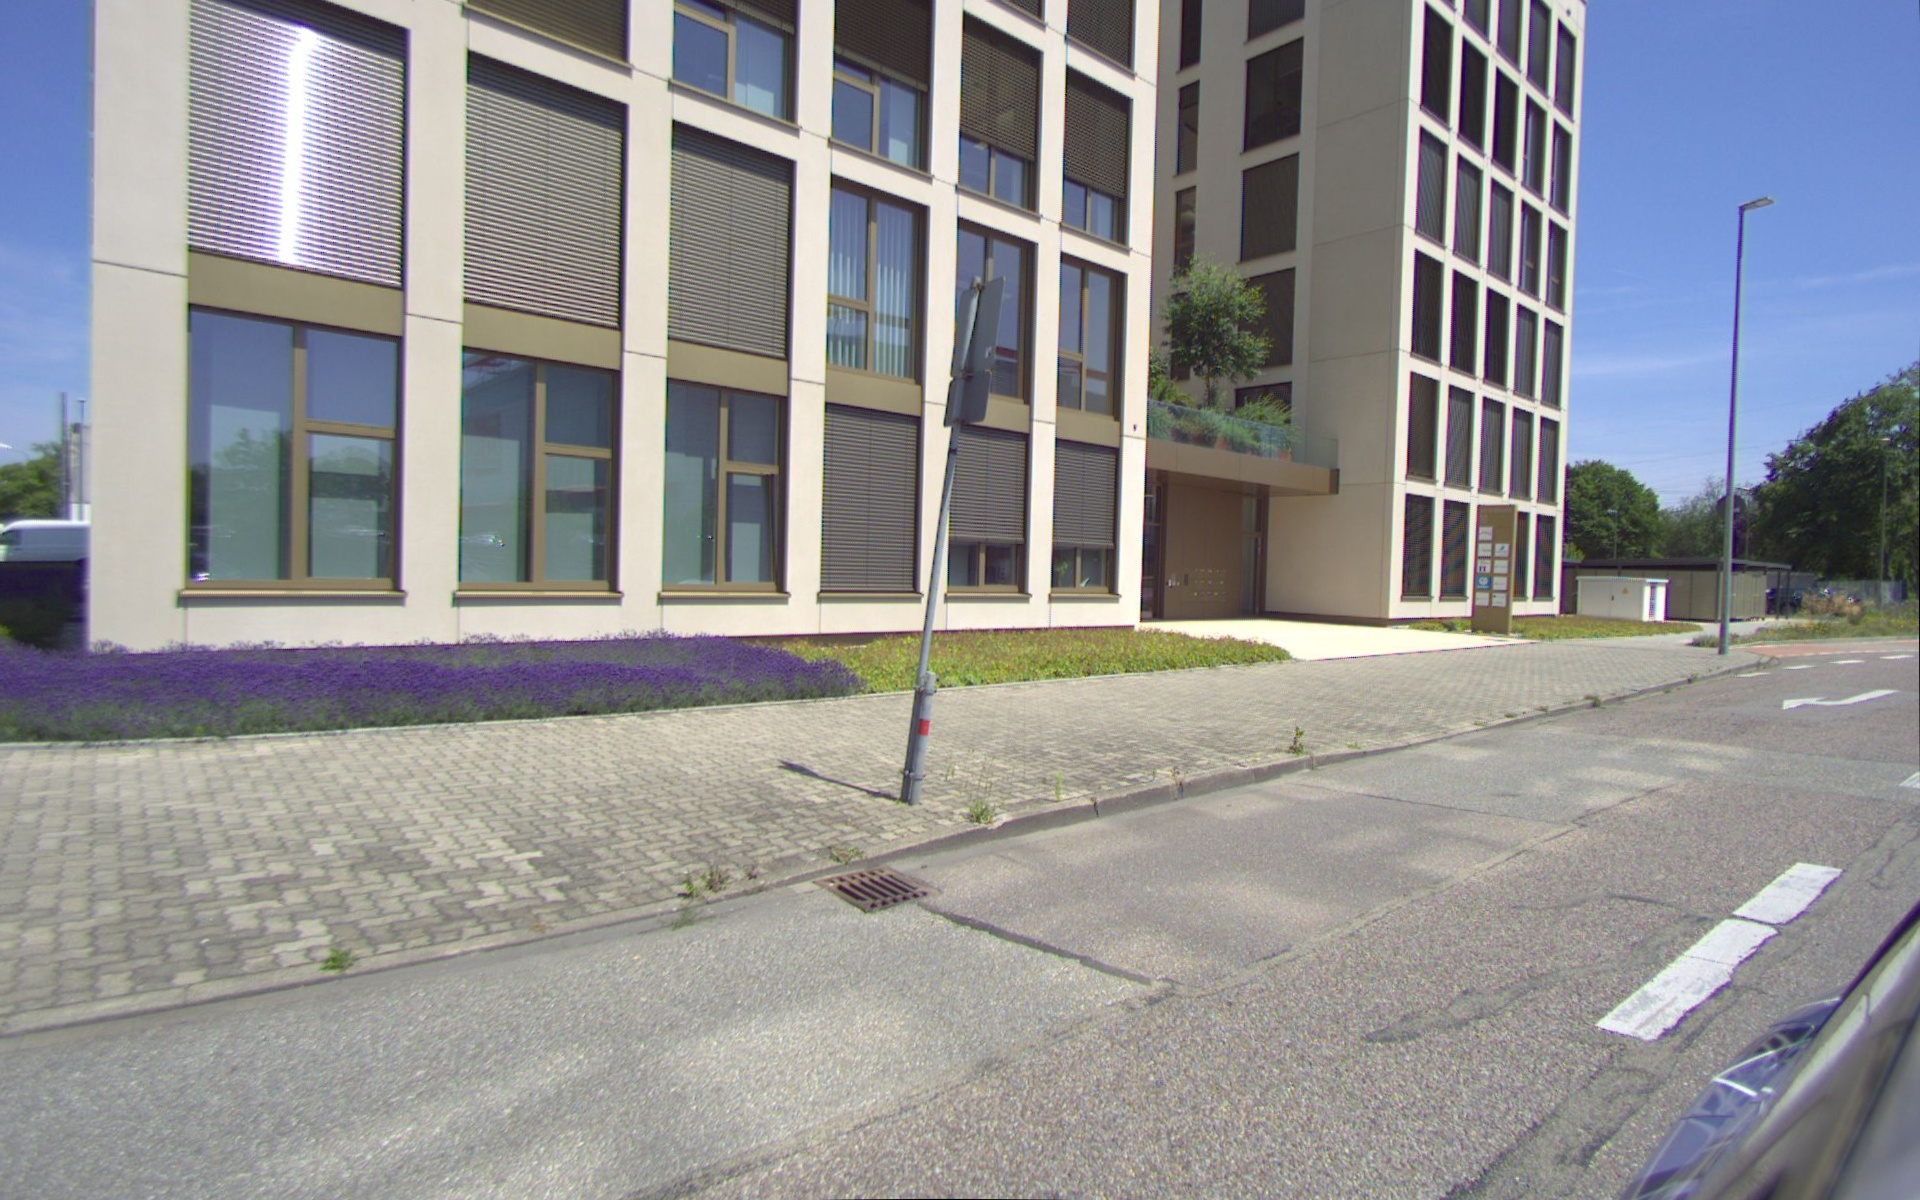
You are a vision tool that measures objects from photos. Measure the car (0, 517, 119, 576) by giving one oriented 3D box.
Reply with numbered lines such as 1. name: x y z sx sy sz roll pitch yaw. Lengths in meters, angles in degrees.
1. car: -43.305 -2.528 47.538 5.693 2.565 2.102 1 1 -37

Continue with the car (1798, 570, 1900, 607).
1. car: 52.205 -0.692 59.522 3.957 1.977 1.984 3 2 24

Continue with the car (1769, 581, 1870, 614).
1. car: 48.737 -0.151 57.474 3.959 1.682 1.823 3 2 25
